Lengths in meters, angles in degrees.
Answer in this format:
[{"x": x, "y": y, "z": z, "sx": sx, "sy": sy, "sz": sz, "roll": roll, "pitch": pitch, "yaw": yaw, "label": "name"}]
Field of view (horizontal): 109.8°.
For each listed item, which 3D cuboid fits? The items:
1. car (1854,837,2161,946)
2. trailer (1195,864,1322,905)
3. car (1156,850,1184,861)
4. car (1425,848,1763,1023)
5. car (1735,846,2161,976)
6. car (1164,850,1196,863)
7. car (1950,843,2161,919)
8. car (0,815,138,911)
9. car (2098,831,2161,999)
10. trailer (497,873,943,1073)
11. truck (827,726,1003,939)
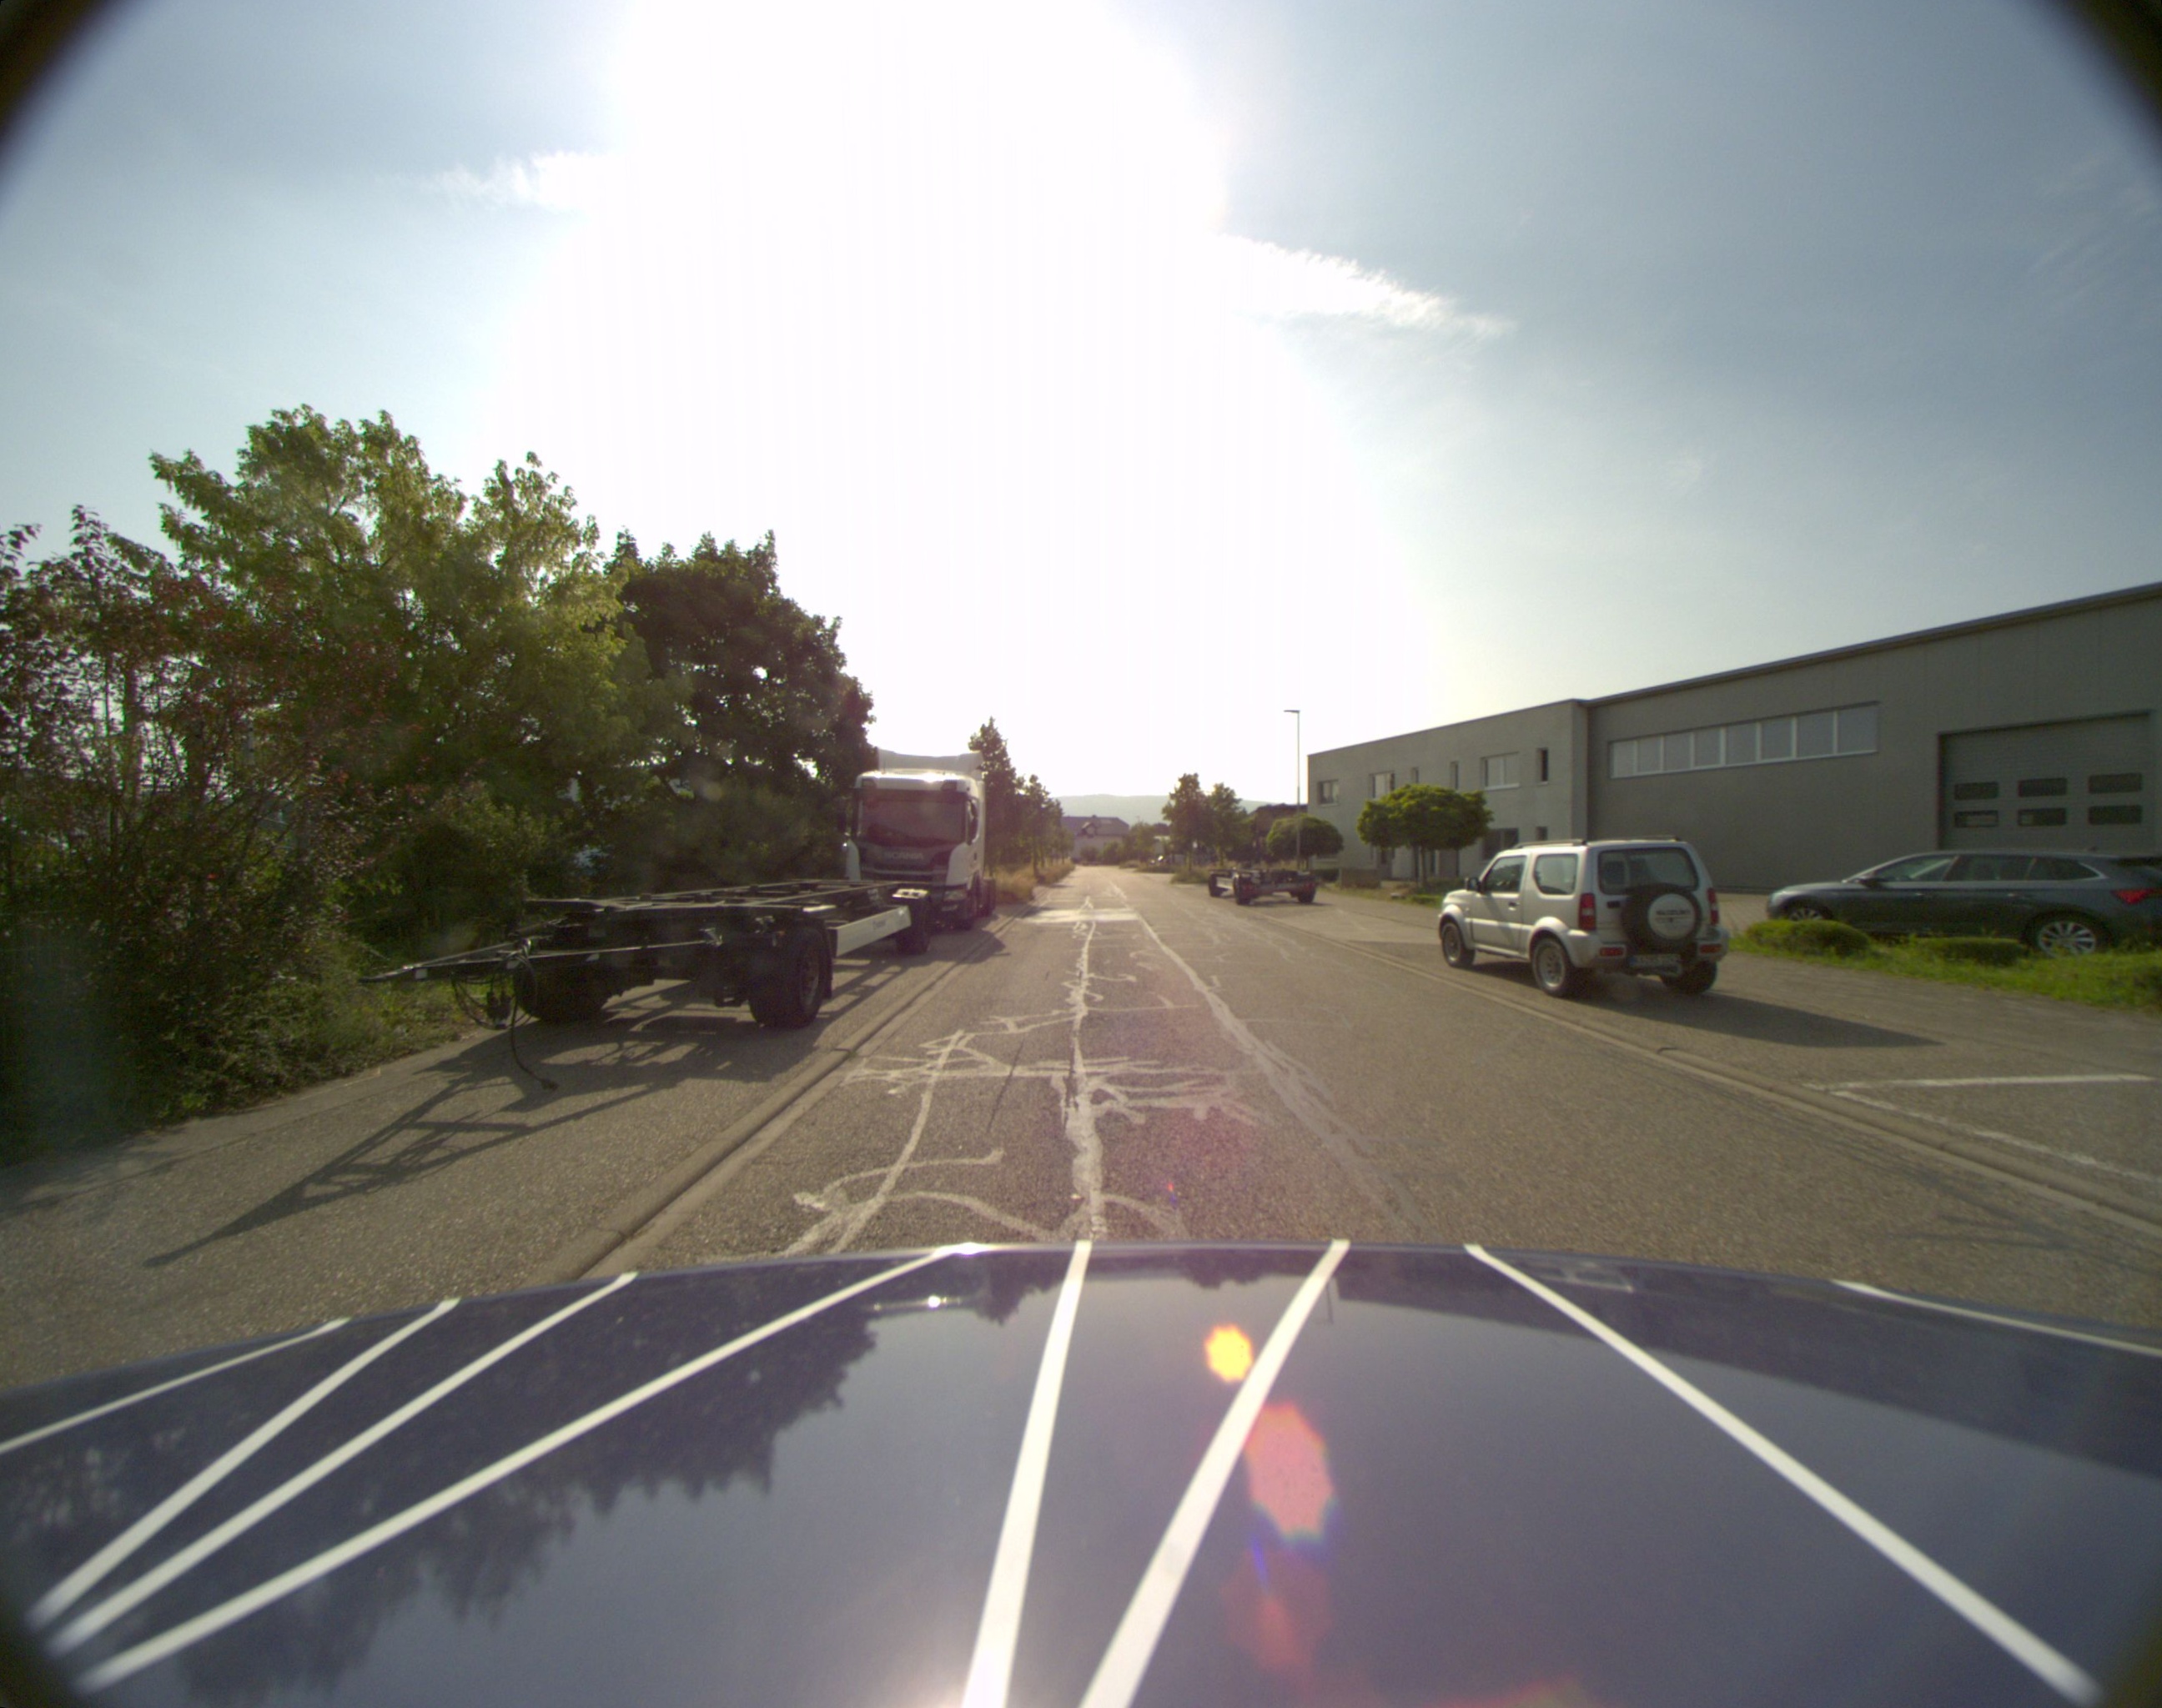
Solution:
[{"x": 15.086, "y": 0.497, "z": 11.579, "sx": 1.686, "sy": 1.468, "sz": 4.343, "roll": -1, "pitch": 0, "yaw": -19, "label": "car"}, {"x": 6.241, "y": 1.016, "z": 28.466, "sx": 2.552, "sy": 1.068, "sz": 9.731, "roll": -2, "pitch": 0, "yaw": 1, "label": "trailer"}, {"x": 14.186, "y": 0.266, "z": 121.480, "sx": 4.004, "sy": 1.783, "sz": 1.996, "roll": -1, "pitch": 0, "yaw": -21, "label": "car"}, {"x": 5.758, "y": 0.786, "z": 9.128, "sx": 1.601, "sy": 1.641, "sz": 3.644, "roll": -2, "pitch": 0, "yaw": 1, "label": "car"}, {"x": 12.721, "y": 0.648, "z": 11.107, "sx": 1.983, "sy": 1.468, "sz": 4.415, "roll": -1, "pitch": 0, "yaw": -17, "label": "car"}, {"x": 12.832, "y": 0.316, "z": 98.520, "sx": 3.996, "sy": 1.718, "sz": 2.000, "roll": -1, "pitch": 0, "yaw": 1, "label": "car"}, {"x": 19.626, "y": 0.466, "z": 13.992, "sx": 1.997, "sy": 1.317, "sz": 4.343, "roll": -1, "pitch": 0, "yaw": -19, "label": "car"}, {"x": -31.124, "y": 0.257, "z": 20.829, "sx": 6.286, "sy": 2.633, "sz": 2.206, "roll": -1, "pitch": 1, "yaw": -41, "label": "car"}, {"x": 11.482, "y": 0.550, "z": 5.946, "sx": 1.840, "sy": 1.563, "sz": 3.811, "roll": -2, "pitch": 1, "yaw": -16, "label": "car"}, {"x": -3.333, "y": 0.971, "z": 9.319, "sx": 1.943, "sy": 1.228, "sz": 7.450, "roll": 1, "pitch": 0, "yaw": 0, "label": "trailer"}, {"x": -3.465, "y": -0.412, "z": 17.424, "sx": 2.699, "sy": 3.941, "sz": 6.047, "roll": 2, "pitch": 0, "yaw": -1, "label": "truck"}]
